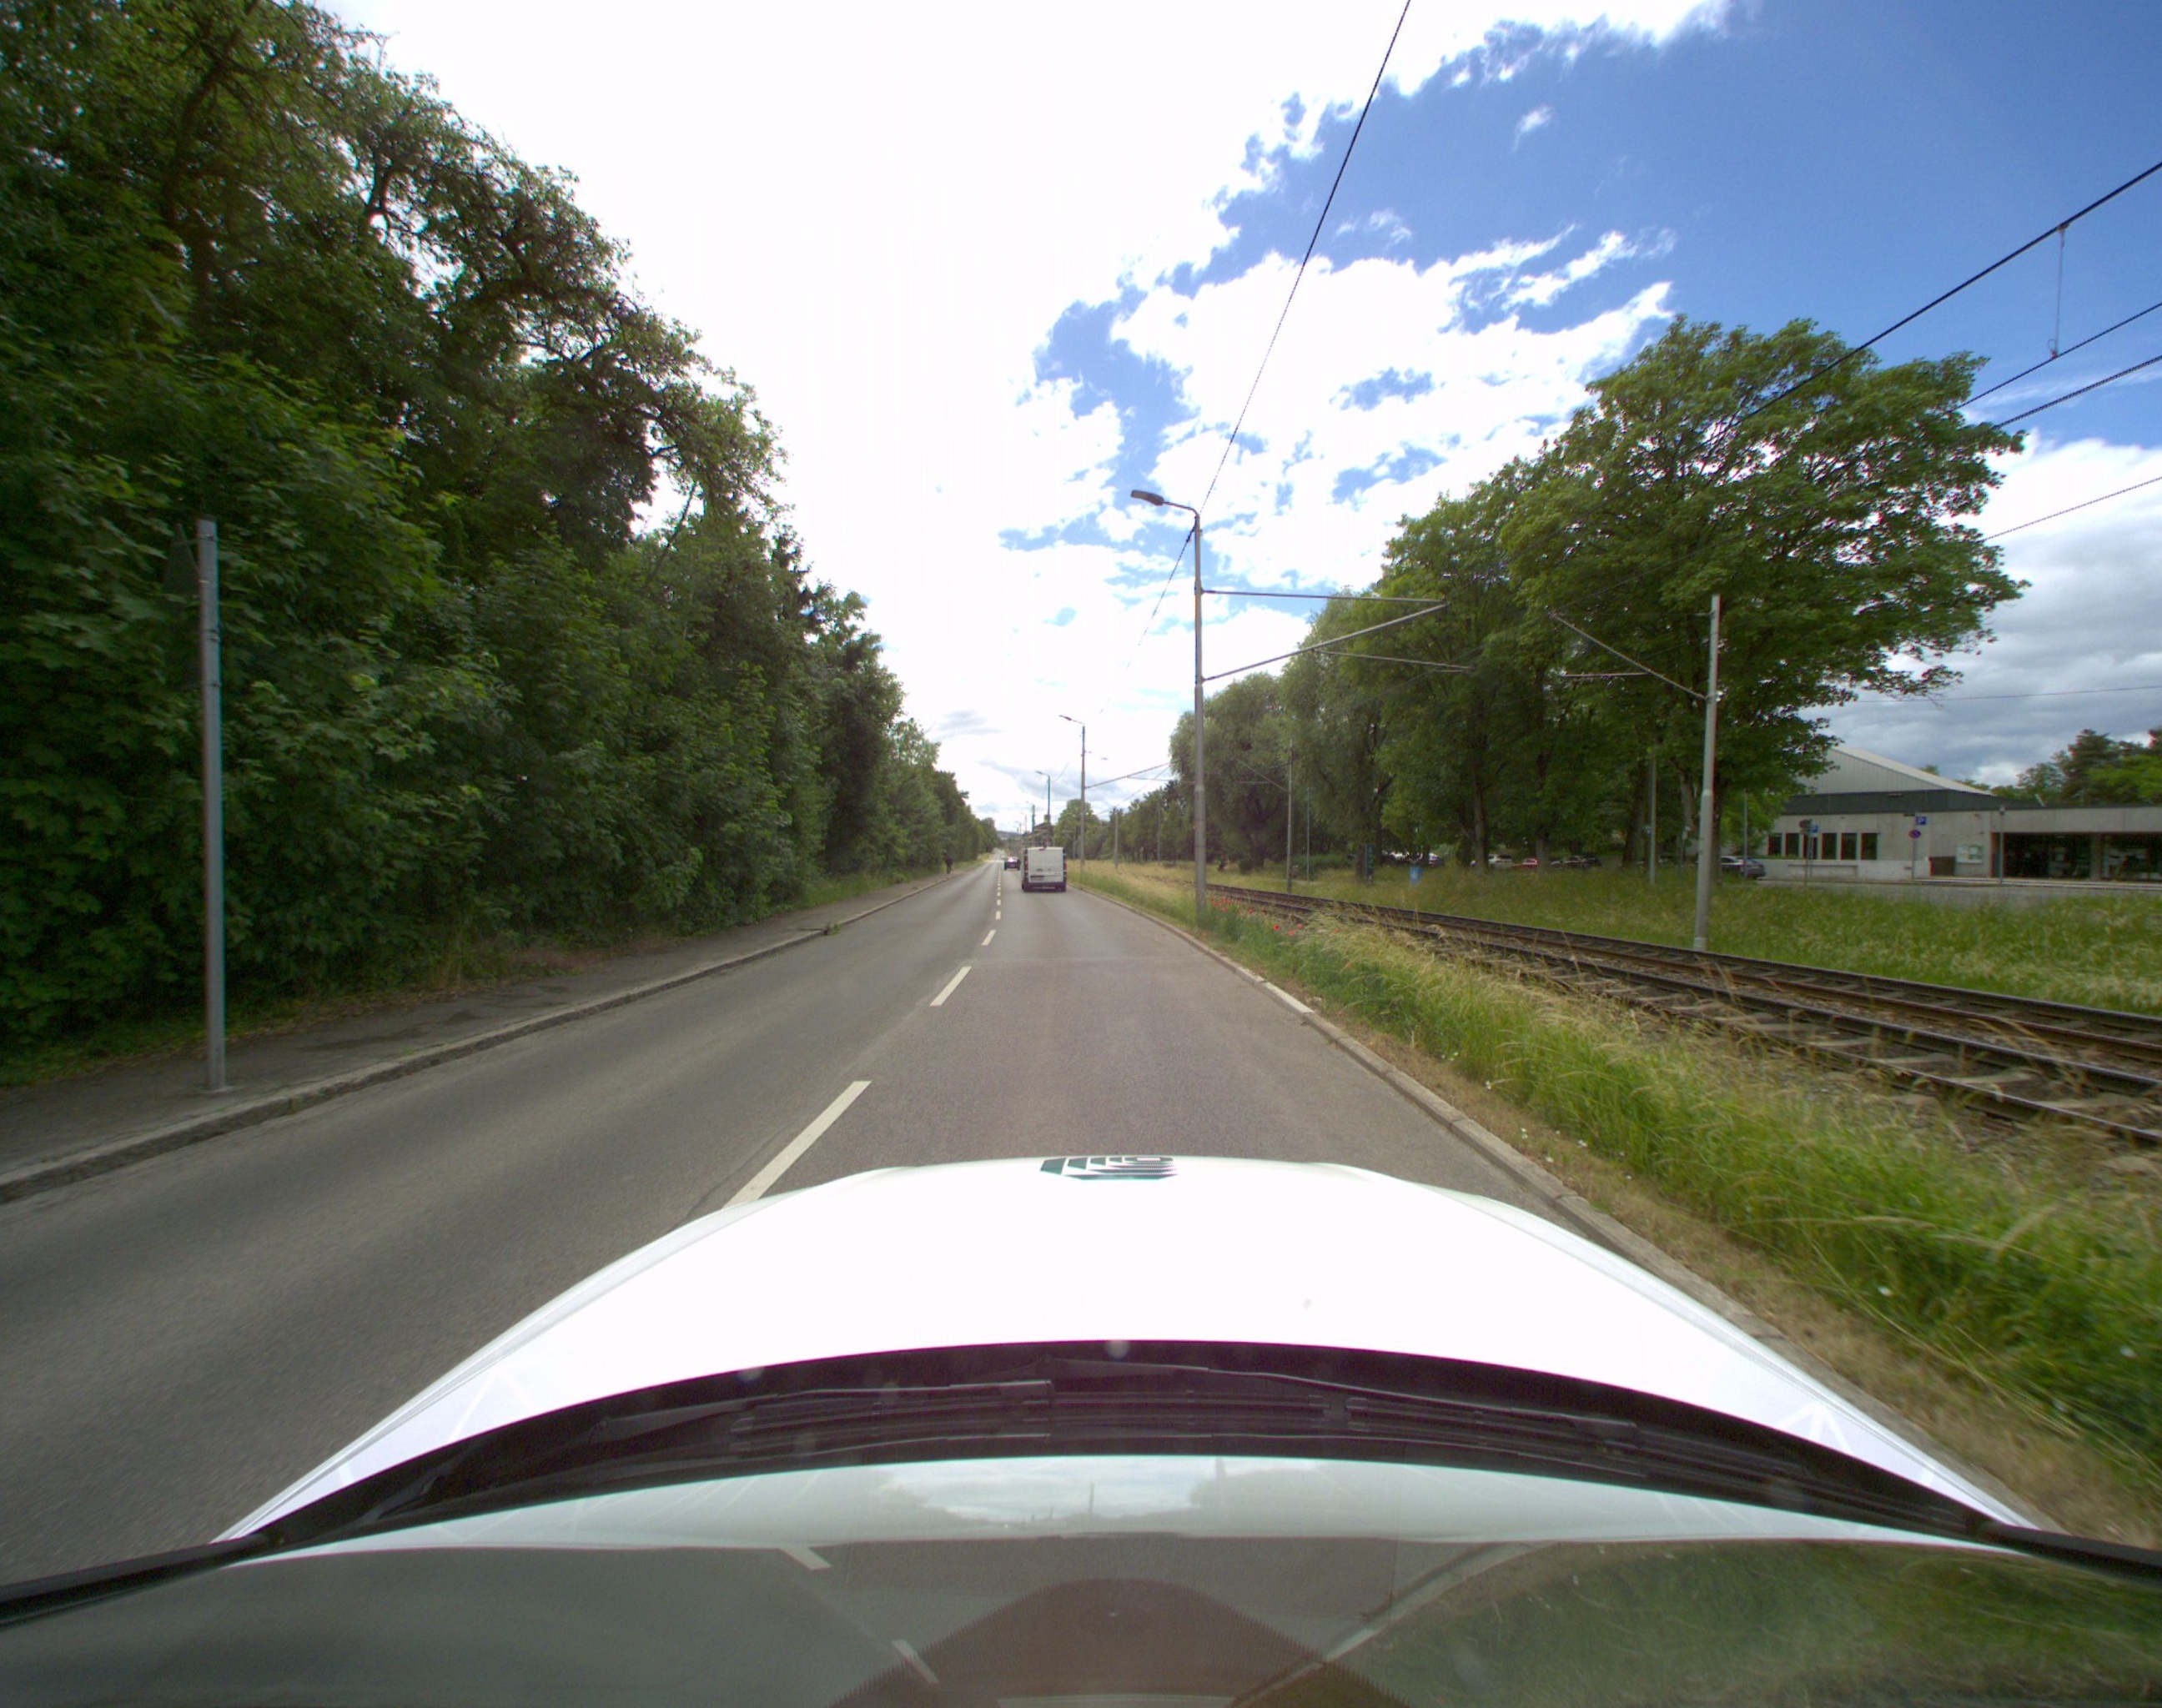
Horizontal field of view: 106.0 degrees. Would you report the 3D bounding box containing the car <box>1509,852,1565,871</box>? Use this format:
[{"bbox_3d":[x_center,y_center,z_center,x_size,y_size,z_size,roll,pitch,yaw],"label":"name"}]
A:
[{"bbox_3d":[36.246,0.571,64.835,1.991,1.442,3.992,1,0,-6],"label":"car"}]

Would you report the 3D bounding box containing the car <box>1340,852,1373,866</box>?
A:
[{"bbox_3d":[37.565,0.708,111.136,2.006,1.812,3.961,1,0,-31],"label":"car"}]

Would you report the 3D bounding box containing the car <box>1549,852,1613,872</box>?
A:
[{"bbox_3d":[36.668,0.589,59.825,1.991,1.442,3.992,1,0,-6],"label":"car"}]

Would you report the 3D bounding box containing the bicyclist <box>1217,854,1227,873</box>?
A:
[{"bbox_3d":[12.483,0.821,72.052,0.580,1.696,0.932,1,0,-9],"label":"bicyclist"}]

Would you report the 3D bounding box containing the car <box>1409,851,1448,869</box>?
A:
[{"bbox_3d":[34.674,0.593,81.418,1.989,1.700,3.995,1,0,-4],"label":"car"}]

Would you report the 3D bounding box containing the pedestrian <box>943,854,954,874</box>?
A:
[{"bbox_3d":[-11.826,0.860,72.707,0.868,1.769,0.787,-2,1,-10],"label":"pedestrian"}]

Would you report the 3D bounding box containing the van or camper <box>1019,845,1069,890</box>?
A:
[{"bbox_3d":[-1.728,0.594,36.880,1.940,1.897,4.274,-1,0,-7],"label":"van or camper"}]

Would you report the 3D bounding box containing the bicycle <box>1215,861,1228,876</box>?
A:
[{"bbox_3d":[12.465,1.257,72.139,0.580,1.246,1.923,0,0,-9],"label":"bicycle"}]

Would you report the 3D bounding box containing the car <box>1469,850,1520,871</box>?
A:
[{"bbox_3d":[35.744,0.543,70.474,1.990,1.700,4.221,1,0,-5],"label":"car"}]

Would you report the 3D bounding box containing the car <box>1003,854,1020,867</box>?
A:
[{"bbox_3d":[-8.573,0.830,100.483,1.991,1.593,3.992,0,0,-6],"label":"car"}]

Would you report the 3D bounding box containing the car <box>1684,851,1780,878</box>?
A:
[{"bbox_3d":[37.991,0.596,47.679,1.991,1.442,4.337,1,0,-6],"label":"car"}]
